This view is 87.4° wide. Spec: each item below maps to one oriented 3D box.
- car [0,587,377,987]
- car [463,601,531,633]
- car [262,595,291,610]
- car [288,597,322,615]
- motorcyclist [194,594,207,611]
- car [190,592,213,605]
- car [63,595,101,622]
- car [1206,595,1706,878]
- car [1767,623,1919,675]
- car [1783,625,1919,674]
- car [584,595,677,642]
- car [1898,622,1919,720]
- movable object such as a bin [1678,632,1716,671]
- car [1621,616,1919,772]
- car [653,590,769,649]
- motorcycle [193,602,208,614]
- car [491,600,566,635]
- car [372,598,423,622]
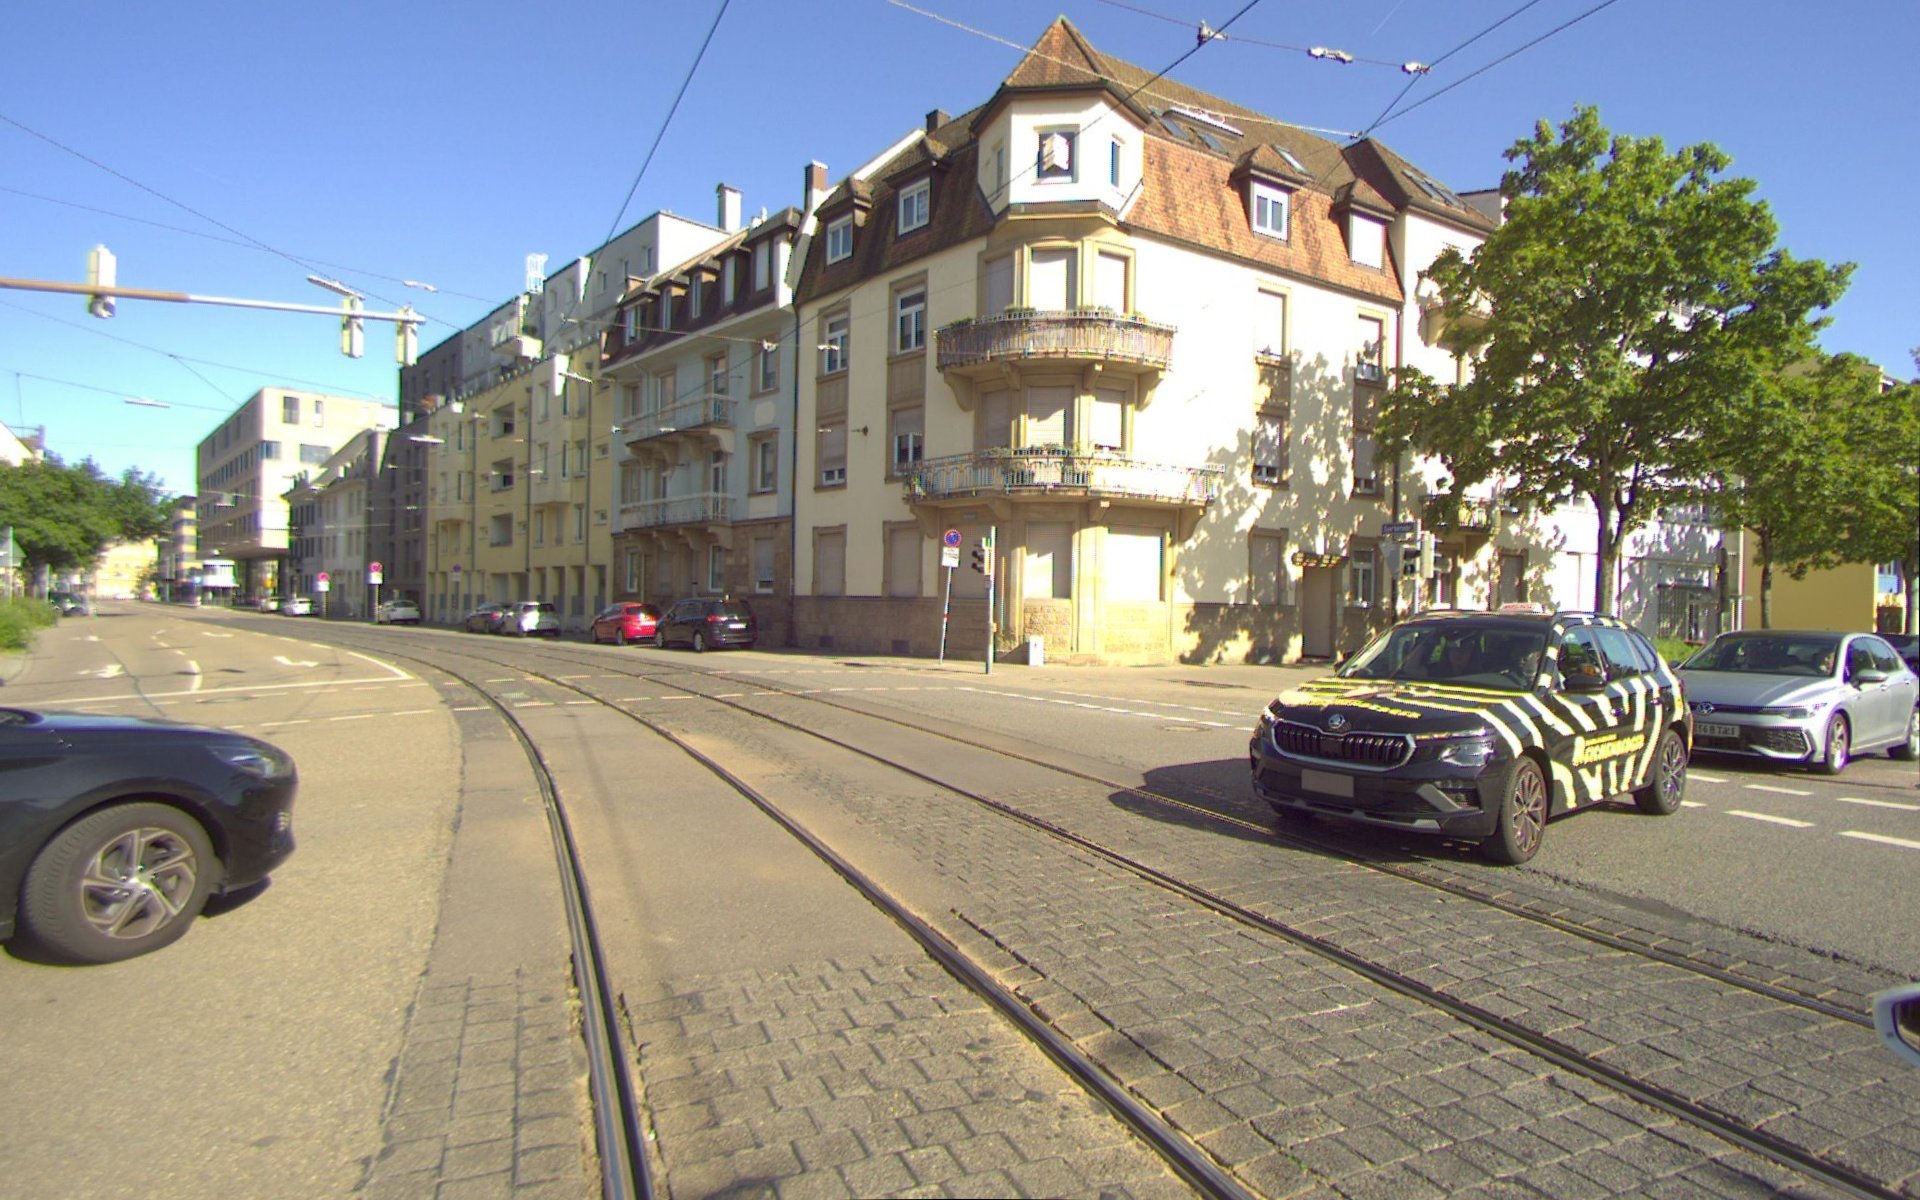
[{"bbox_3d":[-4.683,0.707,3.460,1.775,1.470,4.317,-1,0,30],"label":"car"},{"bbox_3d":[-21.546,0.750,46.667,1.948,1.381,3.796,-1,1,-40],"label":"car"},{"bbox_3d":[-61.581,0.215,90.442,1.789,1.347,3.669,-1,1,-40],"label":"car"},{"bbox_3d":[-51.664,0.425,79.219,1.789,1.381,3.669,-1,1,-40],"label":"car"},{"bbox_3d":[-81.860,0.279,108.275,1.041,1.894,0.937,1,0,44],"label":"motorcyclist"},{"bbox_3d":[-82.538,-0.216,109.265,1.789,1.381,3.669,-1,1,-40],"label":"car"},{"bbox_3d":[-56.261,0.520,64.356,1.767,1.624,3.951,1,0,-41],"label":"car"},{"bbox_3d":[3.812,0.762,7.424,4.080,1.534,1.774,1,0,-39],"label":"car"},{"bbox_3d":[29.132,1.581,32.946,3.814,1.530,1.826,1,0,27],"label":"car"},{"bbox_3d":[31.368,1.711,34.984,3.814,1.530,1.826,1,0,27],"label":"car"},{"bbox_3d":[-11.945,0.627,36.294,1.884,1.561,3.844,-1,1,-41],"label":"car"},{"bbox_3d":[16.905,1.115,16.108,3.818,1.532,1.697,1,-2,-31],"label":"car"},{"bbox_3d":[18.972,1.321,25.846,0.629,0.989,0.513,1,1,-21],"label":"movable object such as a bin"},{"bbox_3d":[9.337,0.939,11.416,3.810,1.471,1.697,1,0,-34],"label":"car"},{"bbox_3d":[-7.970,0.560,31.936,1.947,1.747,4.123,-1,1,-41],"label":"car"},{"bbox_3d":[-81.893,0.897,108.302,2.726,1.249,0.911,1,0,44],"label":"motorcycle"},{"bbox_3d":[-18.649,0.718,43.361,1.984,1.381,3.796,-1,1,-40],"label":"car"},{"bbox_3d":[-33.776,0.596,60.265,1.948,1.381,3.796,-1,1,-40],"label":"car"}]
